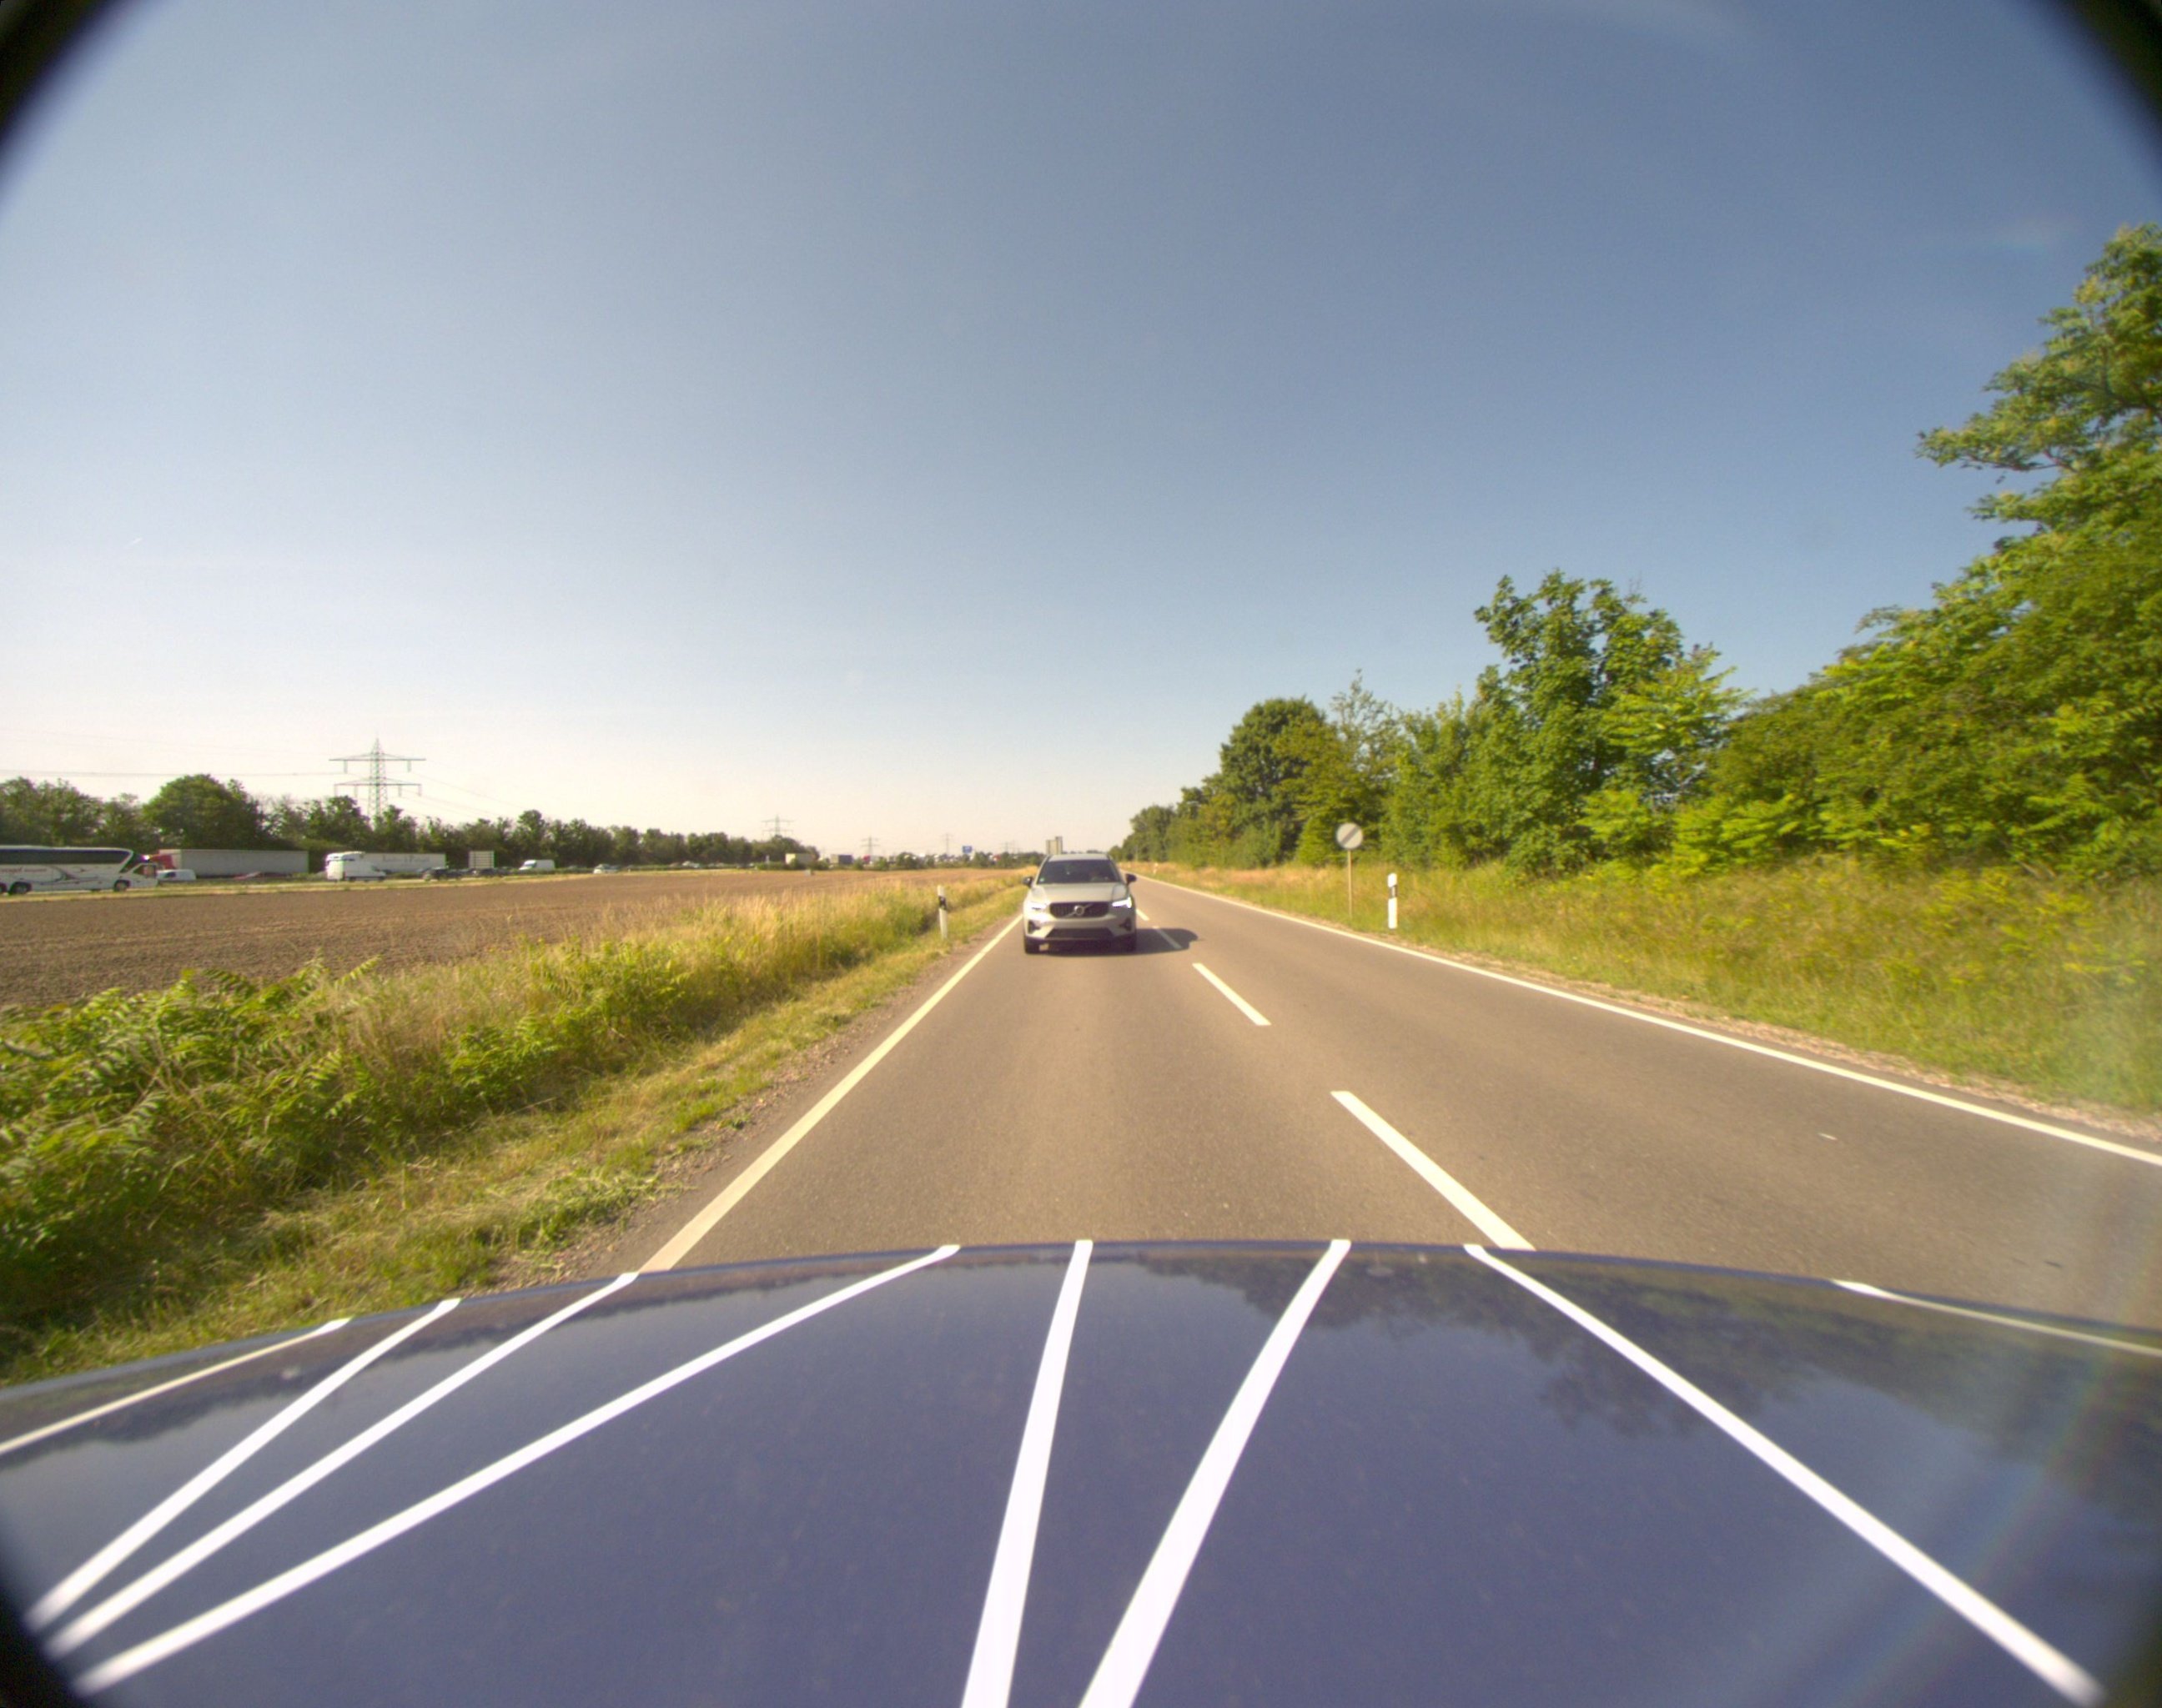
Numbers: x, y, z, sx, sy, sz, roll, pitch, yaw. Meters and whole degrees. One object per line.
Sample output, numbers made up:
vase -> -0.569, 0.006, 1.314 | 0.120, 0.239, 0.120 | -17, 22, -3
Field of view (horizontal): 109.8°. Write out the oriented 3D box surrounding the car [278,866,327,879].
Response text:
car -> -94.953, 2.237, 92.707 | 1.707, 1.500, 4.094 | -3, 0, 0

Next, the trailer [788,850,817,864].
trailer -> -81.058, 0.780, 221.213 | 3.111, 3.826, 13.719 | -1, 0, 1

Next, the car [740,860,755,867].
car -> -81.762, 2.296, 186.202 | 1.707, 1.534, 4.195 | -3, 1, 0

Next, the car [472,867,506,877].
car -> -86.965, 2.634, 111.742 | 1.707, 1.365, 4.094 | -3, 0, 1

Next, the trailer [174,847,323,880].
trailer -> -101.115, 1.094, 92.950 | 2.953, 3.711, 13.782 | -1, 0, 0

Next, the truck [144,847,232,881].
truck -> -101.132, 1.084, 86.176 | 2.953, 3.711, 5.869 | -1, 0, 0

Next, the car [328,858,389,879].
car -> -87.386, 1.690, 92.057 | 1.998, 2.358, 5.521 | -3, 0, 0

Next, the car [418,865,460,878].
car -> -82.480, 2.256, 97.750 | 1.707, 1.464, 4.210 | -3, 0, 1

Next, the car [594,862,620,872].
car -> -82.357, 2.247, 132.054 | 1.707, 1.534, 4.195 | -3, 1, 0

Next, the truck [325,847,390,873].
truck -> -101.088, 0.834, 106.234 | 3.210, 3.510, 6.109 | 0, 0, 0

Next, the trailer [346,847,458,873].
trailer -> -101.121, 0.849, 113.801 | 3.210, 3.510, 15.082 | 0, 0, 0

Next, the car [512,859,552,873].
car -> -95.910, 2.056, 132.868 | 2.042, 2.432, 6.414 | -2, 0, 1

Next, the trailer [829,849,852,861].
trailer -> -79.207, 0.449, 250.815 | 3.080, 3.779, 14.592 | -2, -1, -1

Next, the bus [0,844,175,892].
bus -> -86.155, 1.183, 63.984 | 2.469, 3.781, 14.547 | -1, 0, -1

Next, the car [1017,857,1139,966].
car -> -0.011, 0.895, 13.809 | 1.840, 1.627, 4.136 | -2, 0, 1

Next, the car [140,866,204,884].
car -> -95.174, 2.184, 79.609 | 1.707, 1.629, 4.094 | -3, 0, 0
